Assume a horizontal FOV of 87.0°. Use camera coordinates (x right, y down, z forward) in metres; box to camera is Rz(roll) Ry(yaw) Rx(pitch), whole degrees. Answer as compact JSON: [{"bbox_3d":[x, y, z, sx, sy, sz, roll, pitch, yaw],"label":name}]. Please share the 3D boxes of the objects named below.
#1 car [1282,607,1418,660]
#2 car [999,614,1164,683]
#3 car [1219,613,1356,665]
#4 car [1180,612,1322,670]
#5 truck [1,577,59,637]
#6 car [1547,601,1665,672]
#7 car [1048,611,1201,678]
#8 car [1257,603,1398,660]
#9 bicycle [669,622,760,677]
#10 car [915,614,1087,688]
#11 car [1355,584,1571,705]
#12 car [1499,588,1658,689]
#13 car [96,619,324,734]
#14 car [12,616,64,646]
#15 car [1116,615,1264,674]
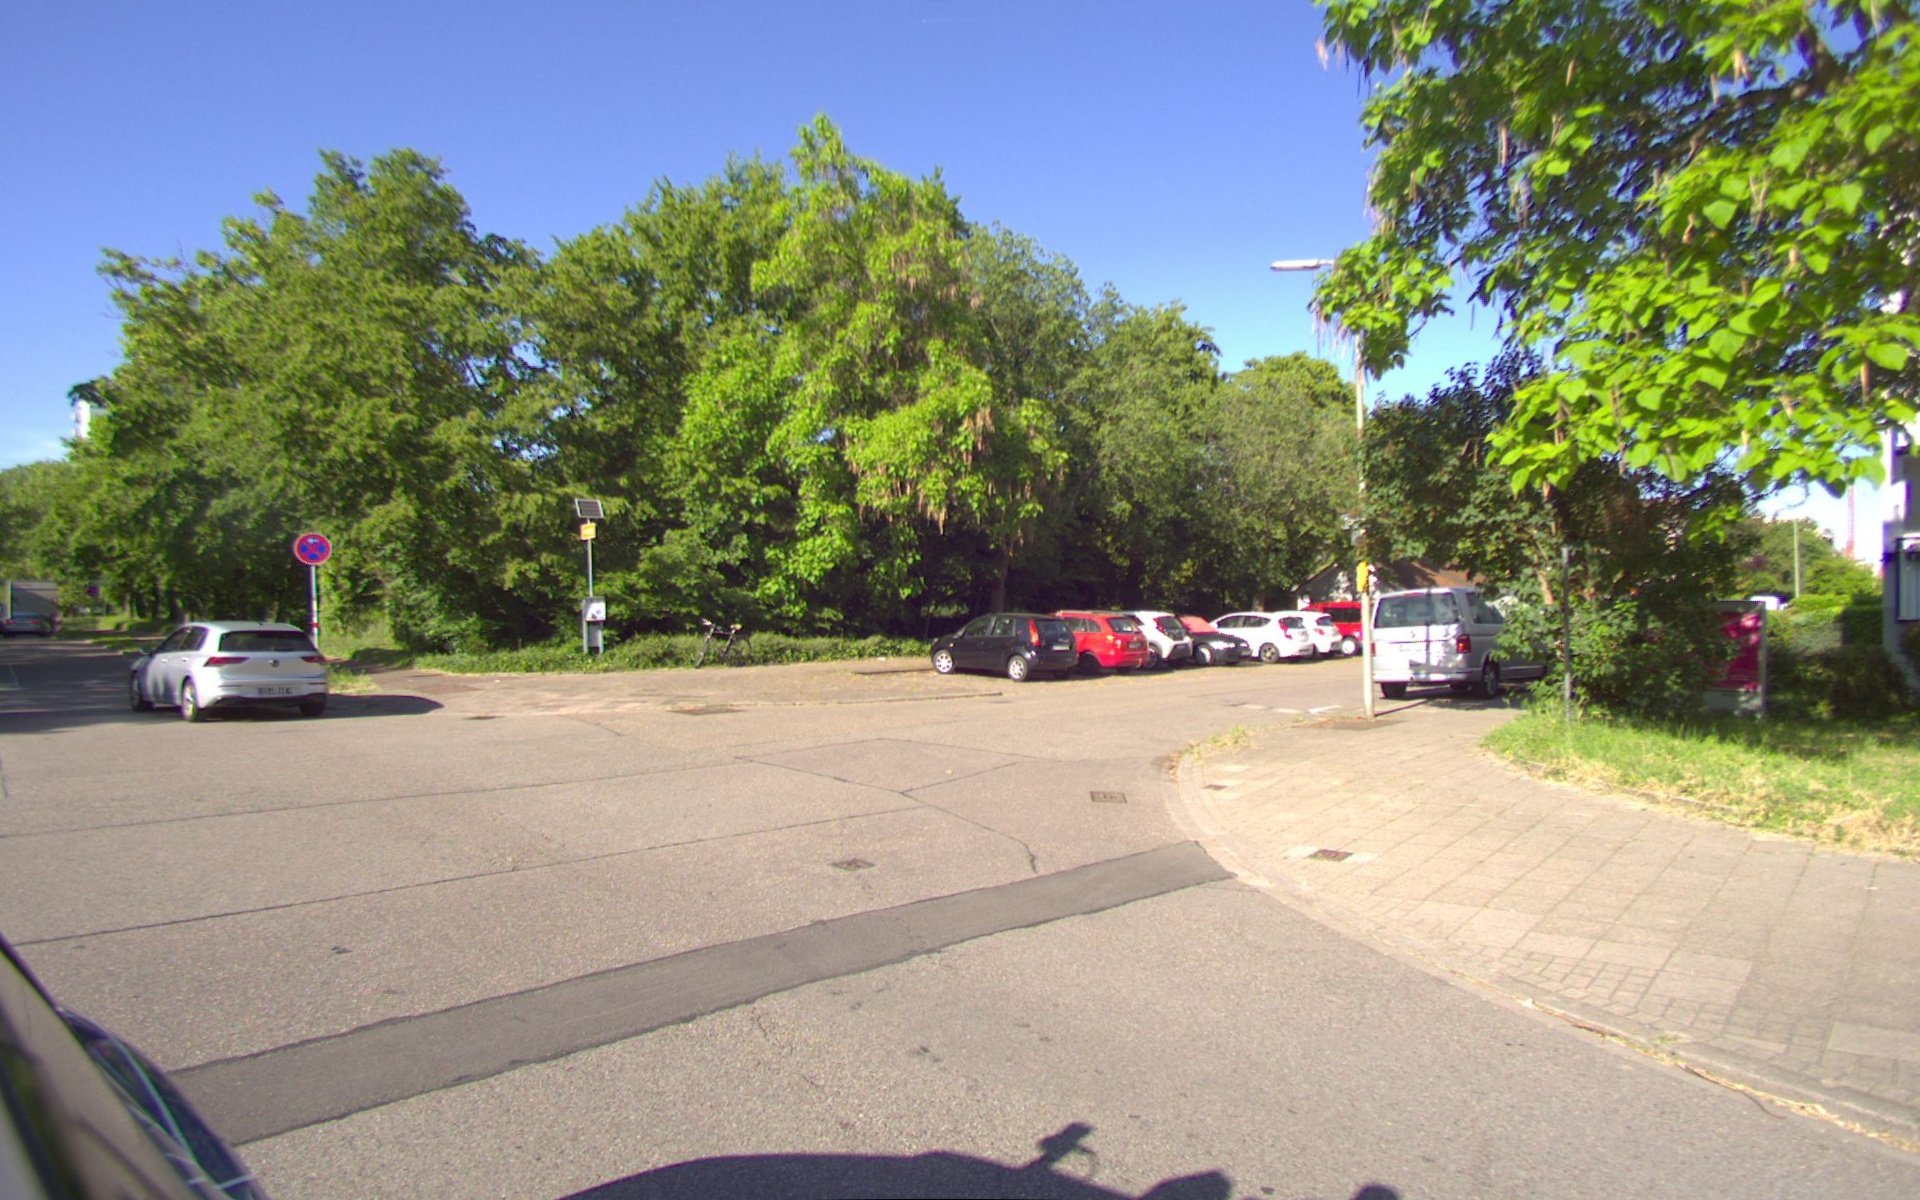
[{"bbox_3d":[14.178,1.167,36.940,1.651,1.784,4.358,1,0,-45],"label":"car"},{"bbox_3d":[2.962,1.136,25.197,1.651,1.498,3.888,1,0,-45],"label":"car"},{"bbox_3d":[10.535,1.202,32.717,1.651,1.498,3.888,1,0,-45],"label":"car"},{"bbox_3d":[8.856,1.198,30.988,1.651,1.569,3.888,1,0,-45],"label":"car"},{"bbox_3d":[-67.271,0.480,73.154,2.763,4.049,9.634,3,-2,-44],"label":"truck"},{"bbox_3d":[17.776,0.955,27.779,1.923,1.796,4.035,-2,-2,45],"label":"car"},{"bbox_3d":[4.421,1.143,27.532,1.651,1.615,3.888,1,0,-45],"label":"car"},{"bbox_3d":[12.763,1.060,35.341,1.651,1.821,4.358,1,0,-45],"label":"car"},{"bbox_3d":[-5.655,1.124,23.333,1.874,1.161,0.762,0,2,-34],"label":"bicycle"},{"bbox_3d":[0.881,1.115,23.418,1.651,1.498,3.888,1,0,-45],"label":"car"},{"bbox_3d":[9.432,0.798,18.845,4.397,1.984,2.071,1,-3,-42],"label":"car"},{"bbox_3d":[13.728,0.809,22.388,3.938,2.013,1.939,1,-2,-42],"label":"car"},{"bbox_3d":[-11.662,1.091,15.659,4.181,1.478,1.646,1,-2,36],"label":"car"},{"bbox_3d":[-51.235,1.687,56.209,4.002,1.597,1.971,-1,-1,45],"label":"car"},{"bbox_3d":[6.585,1.226,29.189,1.651,1.498,3.888,1,0,-45],"label":"car"}]
